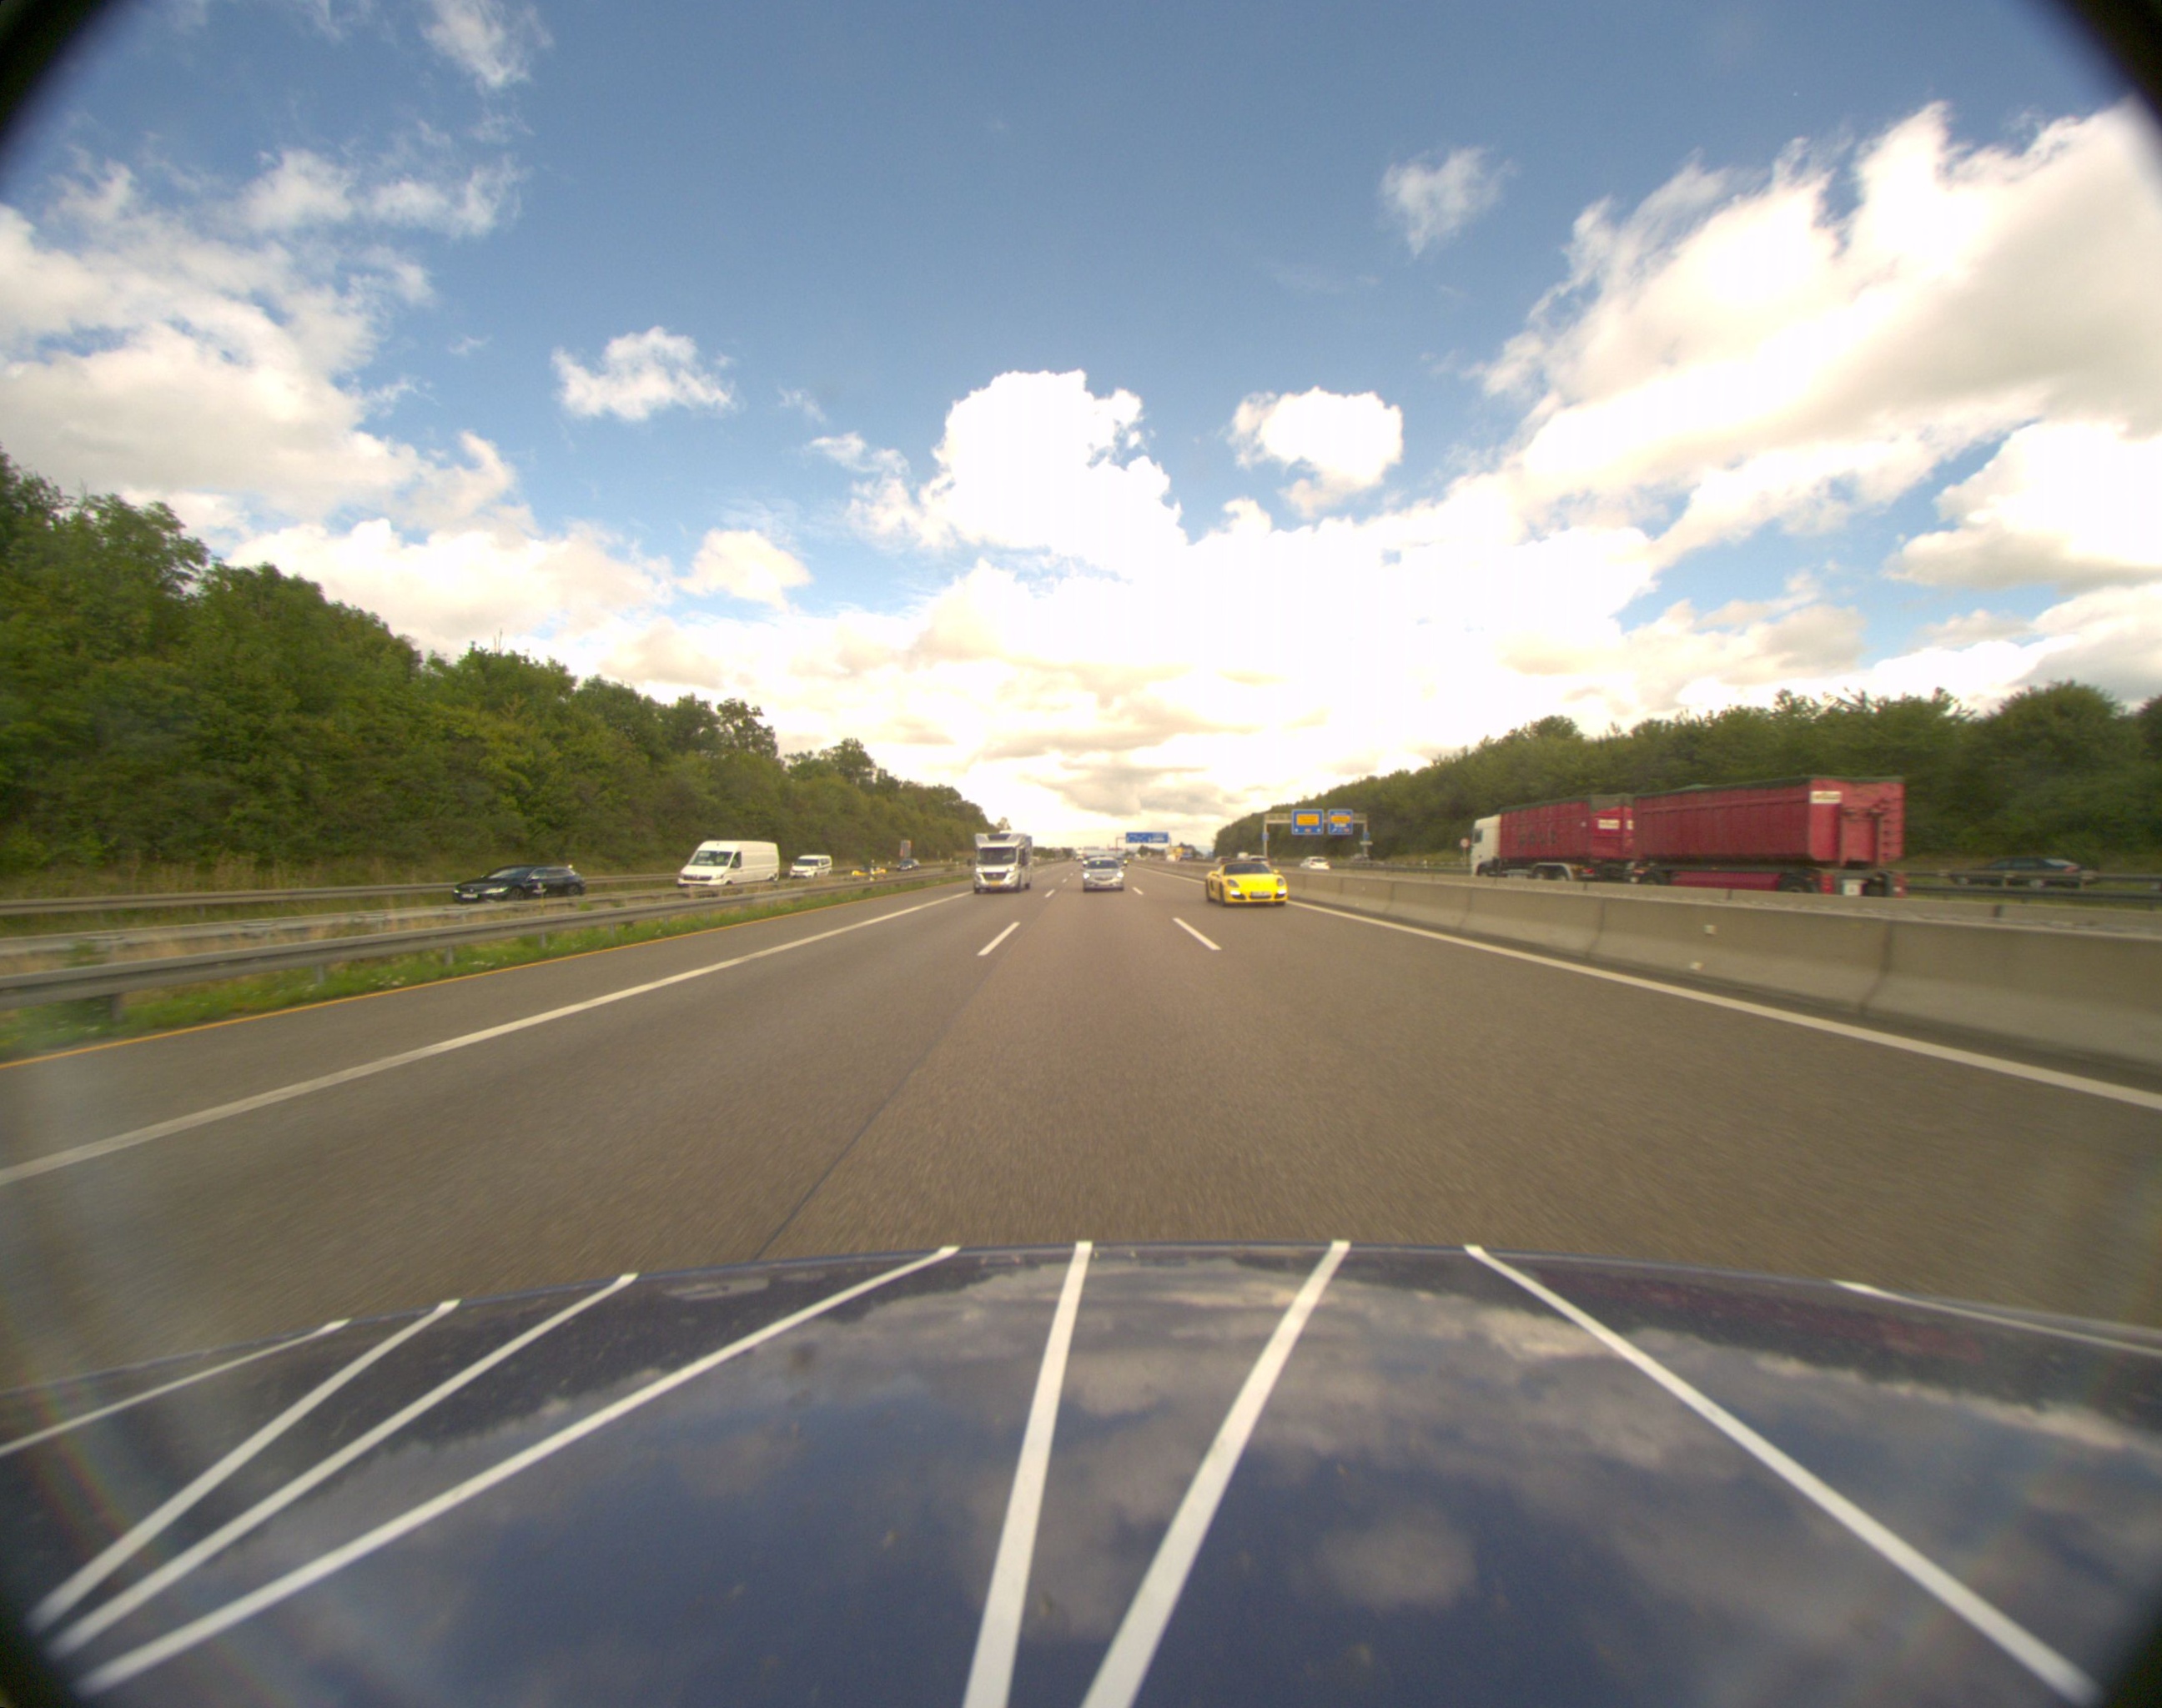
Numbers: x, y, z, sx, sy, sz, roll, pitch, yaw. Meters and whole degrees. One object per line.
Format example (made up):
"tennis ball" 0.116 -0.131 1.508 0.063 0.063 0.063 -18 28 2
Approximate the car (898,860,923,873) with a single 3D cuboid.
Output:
"car" -18.993 1.415 84.931 1.716 1.407 4.169 -1 0 1

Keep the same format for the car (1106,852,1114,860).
"car" 7.044 0.464 184.030 1.998 2.002 4.589 0 0 1

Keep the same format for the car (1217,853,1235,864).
"car" 18.284 0.581 95.937 1.584 1.276 4.241 -1 0 1

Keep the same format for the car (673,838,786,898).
"car" -16.353 0.599 35.887 2.075 2.539 6.743 0 0 1

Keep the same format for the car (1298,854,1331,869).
"car" 20.290 0.638 66.081 1.659 1.186 4.130 -1 0 1

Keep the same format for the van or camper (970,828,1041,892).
"van or camper" -3.486 0.262 36.810 2.475 2.706 7.661 -2 0 1

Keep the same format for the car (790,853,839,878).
"car" -19.598 0.813 56.129 1.848 1.741 4.764 -2 0 1

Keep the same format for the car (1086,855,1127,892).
"car" 1.079 0.828 34.065 1.687 1.476 4.616 -1 0 0

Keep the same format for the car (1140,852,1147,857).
"car" 16.395 0.158 198.870 1.670 1.393 4.534 0 0 1

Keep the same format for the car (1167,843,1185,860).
"car" 23.877 -0.639 192.340 2.913 4.300 14.145 0 0 1

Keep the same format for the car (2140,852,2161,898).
"car" 37.058 0.722 23.739 1.733 1.525 4.452 -1 0 0

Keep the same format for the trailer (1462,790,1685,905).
"trailer" 21.032 -0.263 33.649 3.054 4.264 10.655 -1 0 0

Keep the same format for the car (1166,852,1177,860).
"car" 18.943 0.418 158.809 1.738 1.784 5.124 -1 0 0

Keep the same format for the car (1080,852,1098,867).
"car" 0.923 0.631 86.359 1.876 1.626 4.859 -1 0 1

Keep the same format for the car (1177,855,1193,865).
"car" 14.507 0.790 106.261 1.761 1.394 4.074 -1 0 1

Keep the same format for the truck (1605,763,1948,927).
"truck" 21.121 -0.243 24.131 3.054 4.264 8.588 -1 0 0

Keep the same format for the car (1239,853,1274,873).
"car" 13.923 0.661 60.524 1.692 1.496 4.643 -1 0 1

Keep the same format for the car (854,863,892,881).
"car" -15.700 1.337 57.555 1.716 1.175 4.169 -2 0 1

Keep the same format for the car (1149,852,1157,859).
"car" 20.312 0.342 214.705 1.757 2.002 4.553 -2 0 1

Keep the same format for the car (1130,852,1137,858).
"car" 17.467 0.353 251.905 1.998 2.002 4.436 -1 0 1

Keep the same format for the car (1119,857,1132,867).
"car" 6.293 1.113 108.202 1.593 1.307 3.978 1 0 1

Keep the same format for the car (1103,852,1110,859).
"car" 7.915 0.464 232.016 1.998 1.846 4.286 -1 0 1

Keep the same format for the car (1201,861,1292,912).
"car" 4.788 0.897 22.562 1.811 1.307 4.247 1 0 1

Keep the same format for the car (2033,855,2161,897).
"car" 41.726 0.830 30.422 1.733 1.525 4.452 -1 0 1

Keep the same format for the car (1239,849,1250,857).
"car" 44.901 -0.346 208.611 1.998 2.221 5.891 0 0 2

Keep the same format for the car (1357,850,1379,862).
"car" 43.351 0.284 114.850 1.886 1.652 4.419 0 0 1

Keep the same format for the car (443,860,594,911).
"car" -19.901 1.047 27.214 1.848 1.593 4.764 1 0 0
